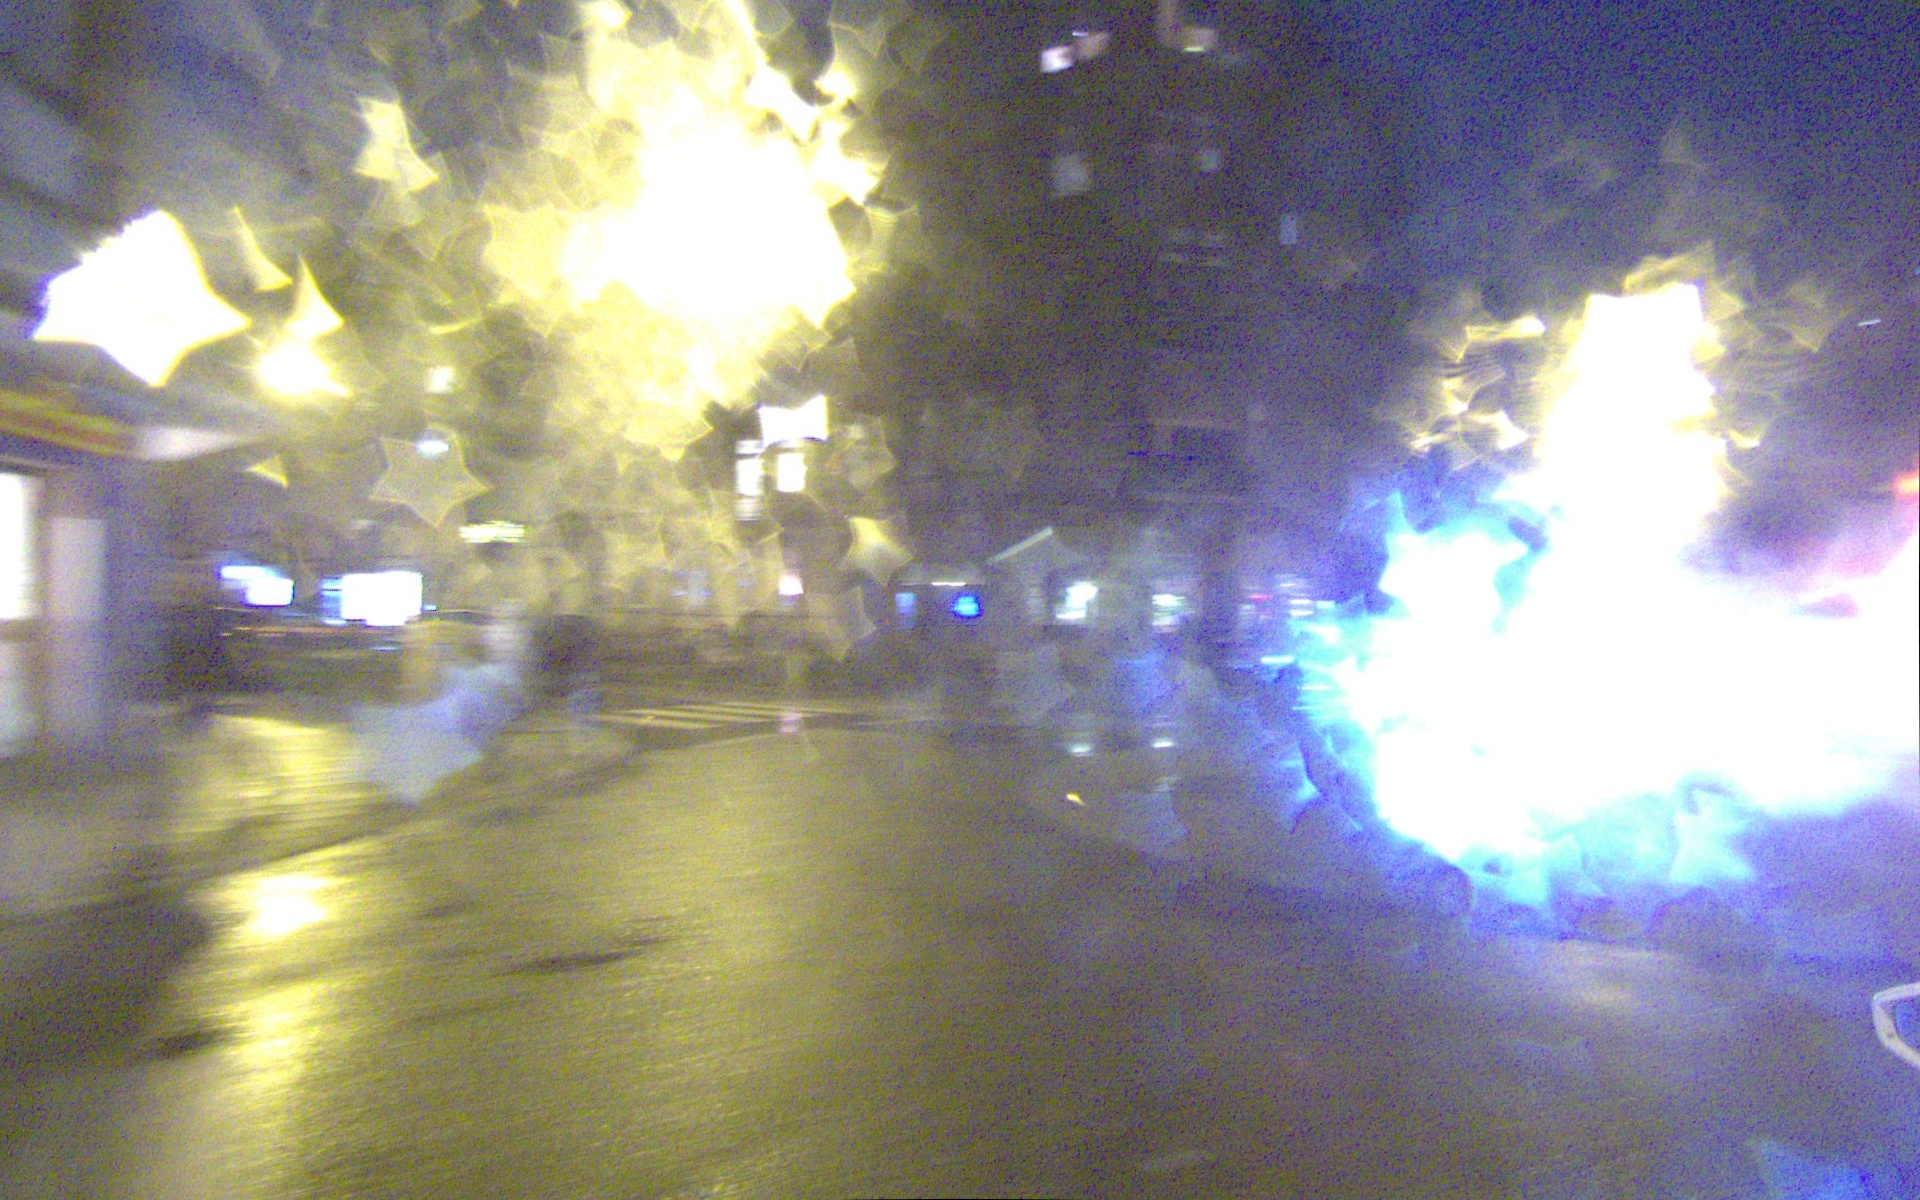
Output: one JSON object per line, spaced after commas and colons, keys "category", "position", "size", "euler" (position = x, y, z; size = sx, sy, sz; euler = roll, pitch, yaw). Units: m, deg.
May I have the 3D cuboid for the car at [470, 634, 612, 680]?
{"category": "car", "position": [-12.627, 1.690, 30.442], "size": [1.566, 1.292, 3.706], "euler": [-1, -2, 37]}

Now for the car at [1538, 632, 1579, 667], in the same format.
{"category": "car", "position": [38.172, 3.166, 64.000], "size": [1.966, 2.040, 3.989], "euler": [3, -1, 34]}

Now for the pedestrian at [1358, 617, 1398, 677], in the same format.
{"category": "pedestrian", "position": [12.884, 1.450, 30.971], "size": [0.794, 1.789, 1.011], "euler": [3, 0, 41]}

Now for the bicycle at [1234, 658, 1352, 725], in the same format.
{"category": "bicycle", "position": [5.658, 1.546, 17.109], "size": [1.766, 1.073, 0.714], "euler": [1, -1, -2]}

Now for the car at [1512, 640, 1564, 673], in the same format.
{"category": "car", "position": [29.077, 2.807, 50.484], "size": [1.966, 1.468, 3.989], "euler": [3, -1, 34]}

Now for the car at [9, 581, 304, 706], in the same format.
{"category": "car", "position": [-15.077, 0.802, 19.018], "size": [1.969, 2.040, 3.983], "euler": [3, -1, 39]}

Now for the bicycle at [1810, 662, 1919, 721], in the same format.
{"category": "bicycle", "position": [18.399, 1.842, 20.366], "size": [1.738, 1.093, 0.434], "euler": [0, -1, 34]}

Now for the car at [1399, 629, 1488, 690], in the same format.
{"category": "car", "position": [13.813, 1.644, 28.600], "size": [1.565, 1.483, 4.011], "euler": [4, 1, 35]}

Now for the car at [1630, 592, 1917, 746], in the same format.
{"category": "car", "position": [12.350, 0.949, 15.708], "size": [2.088, 1.948, 4.825], "euler": [2, -1, 22]}

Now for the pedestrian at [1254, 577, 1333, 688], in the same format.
{"category": "pedestrian", "position": [5.670, 0.548, 17.116], "size": [1.103, 1.835, 0.714], "euler": [1, -1, -2]}

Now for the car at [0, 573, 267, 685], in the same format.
{"category": "car", "position": [-17.004, 0.608, 20.734], "size": [1.969, 2.040, 3.983], "euler": [3, -1, 39]}

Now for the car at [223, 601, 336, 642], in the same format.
{"category": "car", "position": [-28.711, 0.944, 42.464], "size": [1.566, 1.649, 3.658], "euler": [-1, -2, 37]}

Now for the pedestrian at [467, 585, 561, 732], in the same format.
{"category": "pedestrian", "position": [-5.970, 0.771, 13.446], "size": [0.939, 1.882, 0.789], "euler": [2, -3, -42]}

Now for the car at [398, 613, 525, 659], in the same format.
{"category": "car", "position": [-16.516, 1.186, 33.366], "size": [1.566, 1.422, 3.448], "euler": [-1, -2, 37]}

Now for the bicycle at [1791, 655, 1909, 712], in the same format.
{"category": "bicycle", "position": [18.573, 1.754, 21.011], "size": [1.738, 1.139, 0.434], "euler": [-4, -3, 34]}

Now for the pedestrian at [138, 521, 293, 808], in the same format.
{"category": "pedestrian", "position": [-5.266, 0.443, 7.141], "size": [0.643, 1.934, 0.627], "euler": [1, -1, -11]}

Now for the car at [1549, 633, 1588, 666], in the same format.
{"category": "car", "position": [41.575, 3.368, 68.601], "size": [1.967, 2.040, 3.988], "euler": [3, -1, 35]}

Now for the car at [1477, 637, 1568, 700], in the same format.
{"category": "car", "position": [14.290, 1.669, 25.439], "size": [1.543, 1.446, 4.055], "euler": [-1, -2, 36]}

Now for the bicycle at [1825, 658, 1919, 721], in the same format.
{"category": "bicycle", "position": [17.950, 1.728, 19.455], "size": [1.758, 1.140, 0.434], "euler": [0, -1, 34]}
